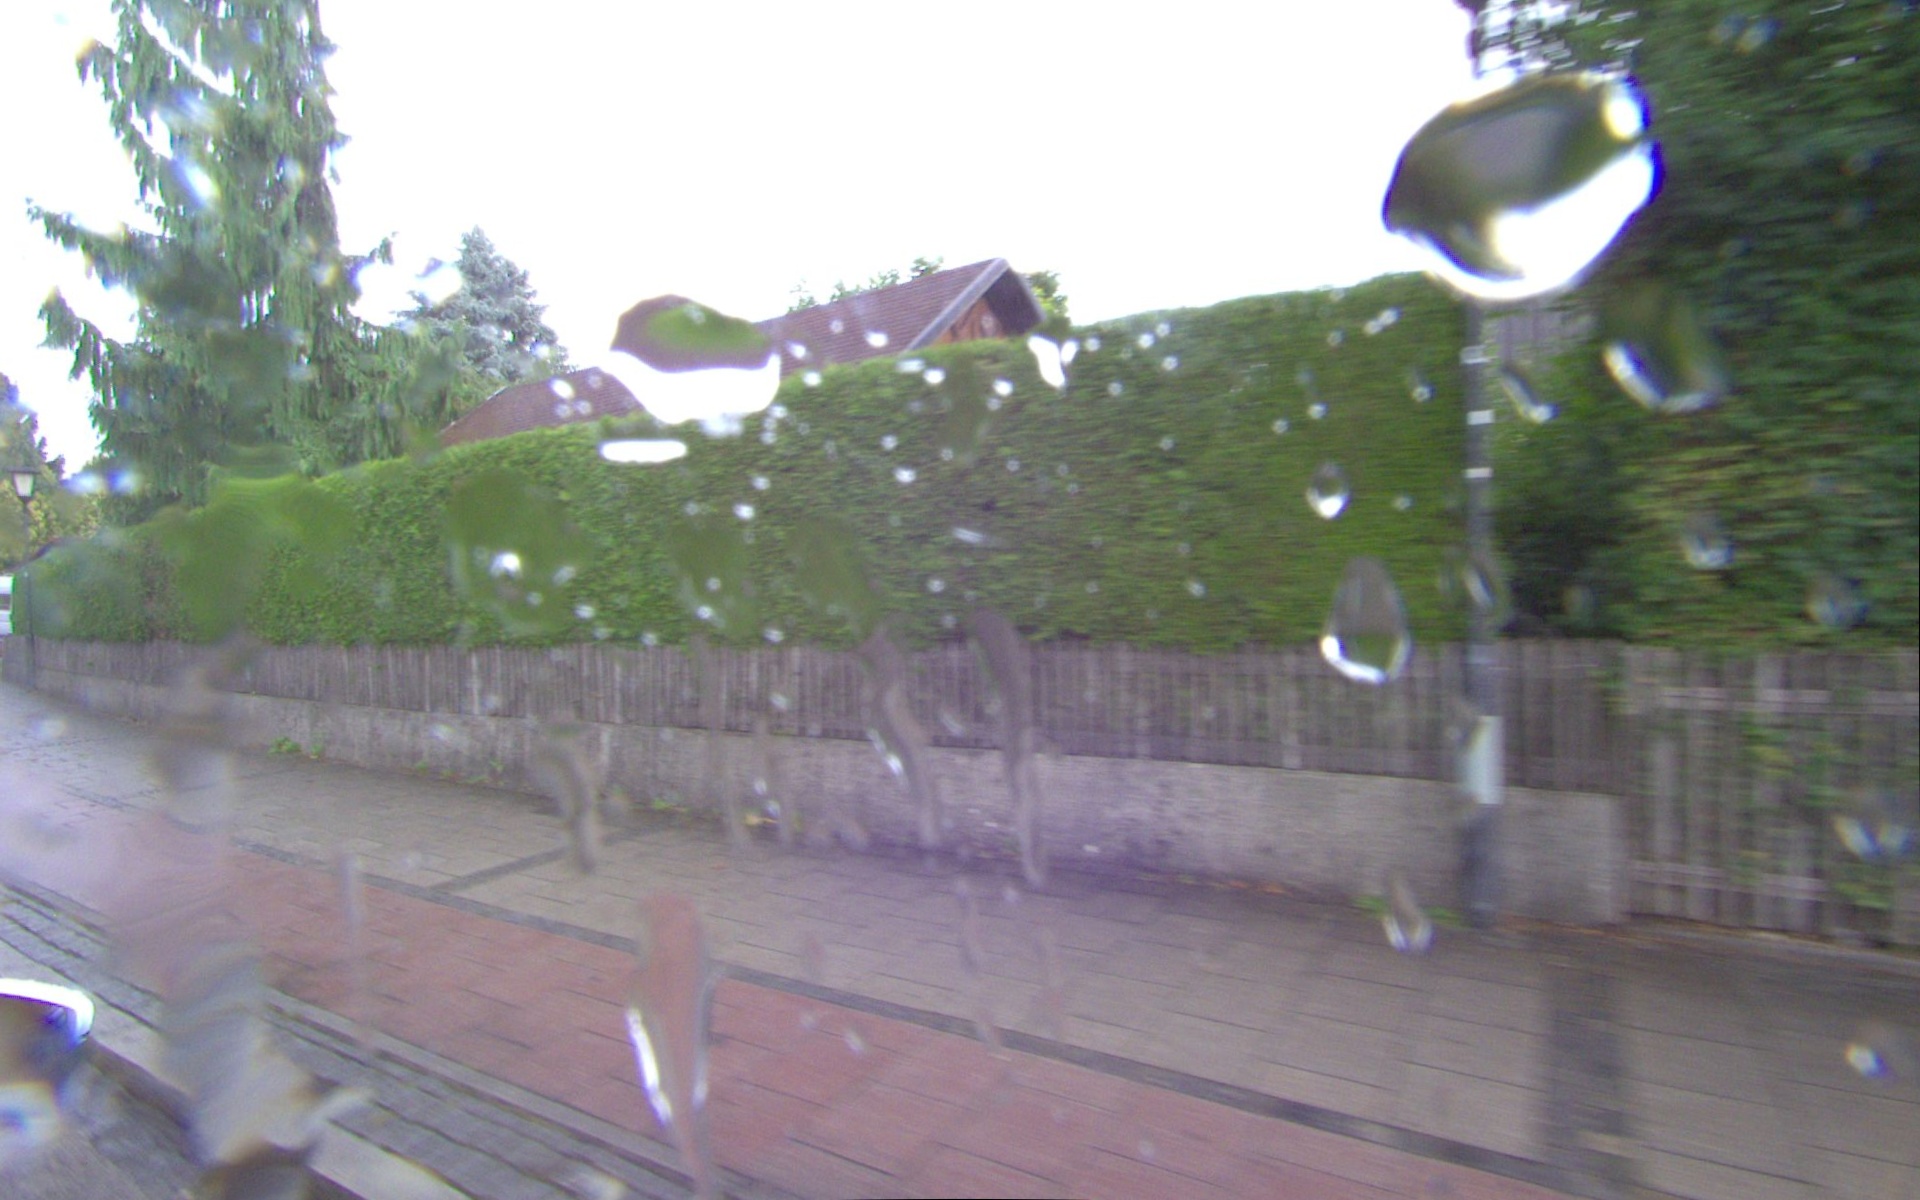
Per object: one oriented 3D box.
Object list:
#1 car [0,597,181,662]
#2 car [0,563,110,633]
[{"bbox_3d":[-26.645,0.835,30.691,1.672,1.776,4.077,2,2,37],"label":"car"},{"bbox_3d":[-31.199,0.001,33.933,4.876,2.201,1.993,-1,-2,28],"label":"car"}]
